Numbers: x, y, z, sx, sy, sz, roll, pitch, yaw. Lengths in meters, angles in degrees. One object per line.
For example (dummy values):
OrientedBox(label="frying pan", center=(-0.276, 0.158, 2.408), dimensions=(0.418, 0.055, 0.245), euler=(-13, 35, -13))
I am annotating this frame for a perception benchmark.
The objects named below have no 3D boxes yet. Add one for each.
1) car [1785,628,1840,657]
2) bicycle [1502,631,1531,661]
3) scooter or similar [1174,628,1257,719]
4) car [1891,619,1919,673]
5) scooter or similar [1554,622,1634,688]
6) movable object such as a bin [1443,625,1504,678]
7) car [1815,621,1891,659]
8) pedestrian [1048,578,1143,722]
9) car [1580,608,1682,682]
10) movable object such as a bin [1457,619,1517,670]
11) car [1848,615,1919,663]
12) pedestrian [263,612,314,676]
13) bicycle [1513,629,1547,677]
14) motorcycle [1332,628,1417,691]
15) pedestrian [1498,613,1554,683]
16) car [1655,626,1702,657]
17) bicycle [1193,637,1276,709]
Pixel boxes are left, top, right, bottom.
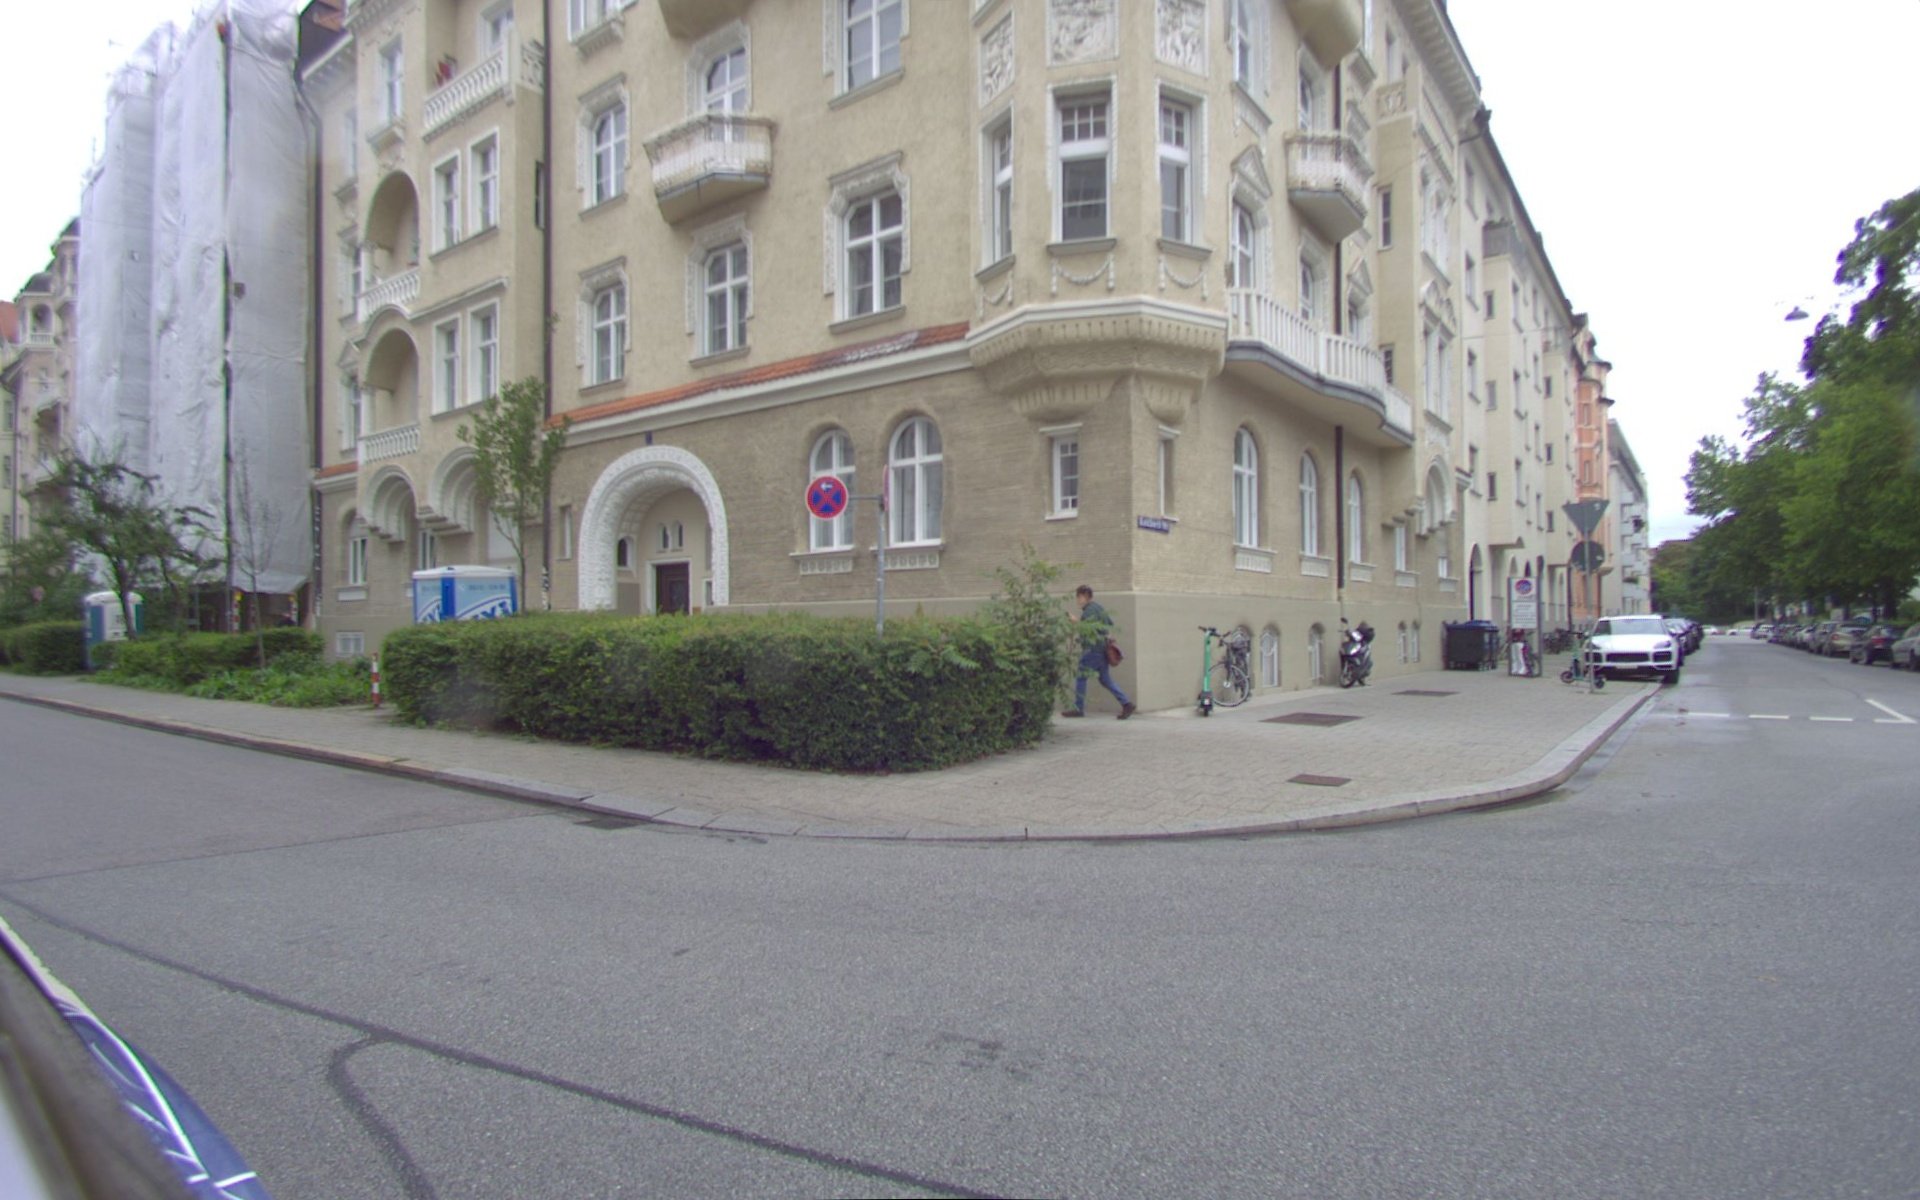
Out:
OrientedBox(label="car", center=(46.348, 2.283, 55.083), dimensions=(1.771, 1.530, 3.990), euler=(-1, -2, 33))
OrientedBox(label="bicycle", center=(20.318, 1.658, 36.933), dimensions=(0.623, 1.054, 2.188), euler=(-2, -2, 36))
OrientedBox(label="scooter or similar", center=(3.459, 0.972, 13.807), dimensions=(0.520, 1.175, 1.359), euler=(0, -2, -13))
OrientedBox(label="car", center=(28.771, 1.316, 29.451), dimensions=(1.771, 1.530, 3.990), euler=(-1, -2, 33))
OrientedBox(label="scooter or similar", center=(13.997, 1.207, 22.382), dimensions=(0.697, 1.405, 1.359), euler=(0, -2, -13))
OrientedBox(label="movable object such as a bin", center=(14.637, 1.451, 28.851), dimensions=(1.343, 1.468, 1.148), euler=(-2, -2, 37))
OrientedBox(label="car", center=(37.935, 1.671, 43.084), dimensions=(1.771, 1.530, 3.990), euler=(-1, -2, 33))
OrientedBox(label="pedestrian", center=(1.808, 0.657, 13.476), dimensions=(1.050, 1.824, 0.884), euler=(-1, -2, 23))
OrientedBox(label="car", center=(17.346, 1.105, 26.052), dimensions=(1.996, 1.704, 4.751), euler=(-1, -2, 36))
OrientedBox(label="movable object such as a bin", center=(15.572, 1.298, 29.896), dimensions=(1.343, 1.468, 1.280), euler=(-2, -2, 37))
OrientedBox(label="car", center=(31.594, 1.276, 34.174), dimensions=(1.771, 1.530, 3.990), euler=(-1, -2, 33))
OrientedBox(label="pedestrian", center=(-18.764, 1.218, 28.298), dimensions=(0.946, 1.765, 0.905), euler=(-2, -2, 37))
OrientedBox(label="bicycle", center=(14.297, 1.312, 25.377), dimensions=(0.549, 1.158, 1.823), euler=(-2, -2, 35))
OrientedBox(label="motorcycle", center=(8.393, 1.162, 20.421), dimensions=(1.005, 1.189, 2.532), euler=(-2, -2, 36))
OrientedBox(label="pedestrian", center=(15.327, 1.288, 27.389), dimensions=(1.131, 1.818, 1.255), euler=(-2, -2, 37))
OrientedBox(label="car", center=(39.407, 2.239, 55.518), dimensions=(1.996, 1.608, 4.160), euler=(-1, -2, 36))
OrientedBox(label="bicycle", center=(4.237, 1.089, 15.533), dimensions=(0.559, 1.030, 1.859), euler=(-2, -2, 37))
